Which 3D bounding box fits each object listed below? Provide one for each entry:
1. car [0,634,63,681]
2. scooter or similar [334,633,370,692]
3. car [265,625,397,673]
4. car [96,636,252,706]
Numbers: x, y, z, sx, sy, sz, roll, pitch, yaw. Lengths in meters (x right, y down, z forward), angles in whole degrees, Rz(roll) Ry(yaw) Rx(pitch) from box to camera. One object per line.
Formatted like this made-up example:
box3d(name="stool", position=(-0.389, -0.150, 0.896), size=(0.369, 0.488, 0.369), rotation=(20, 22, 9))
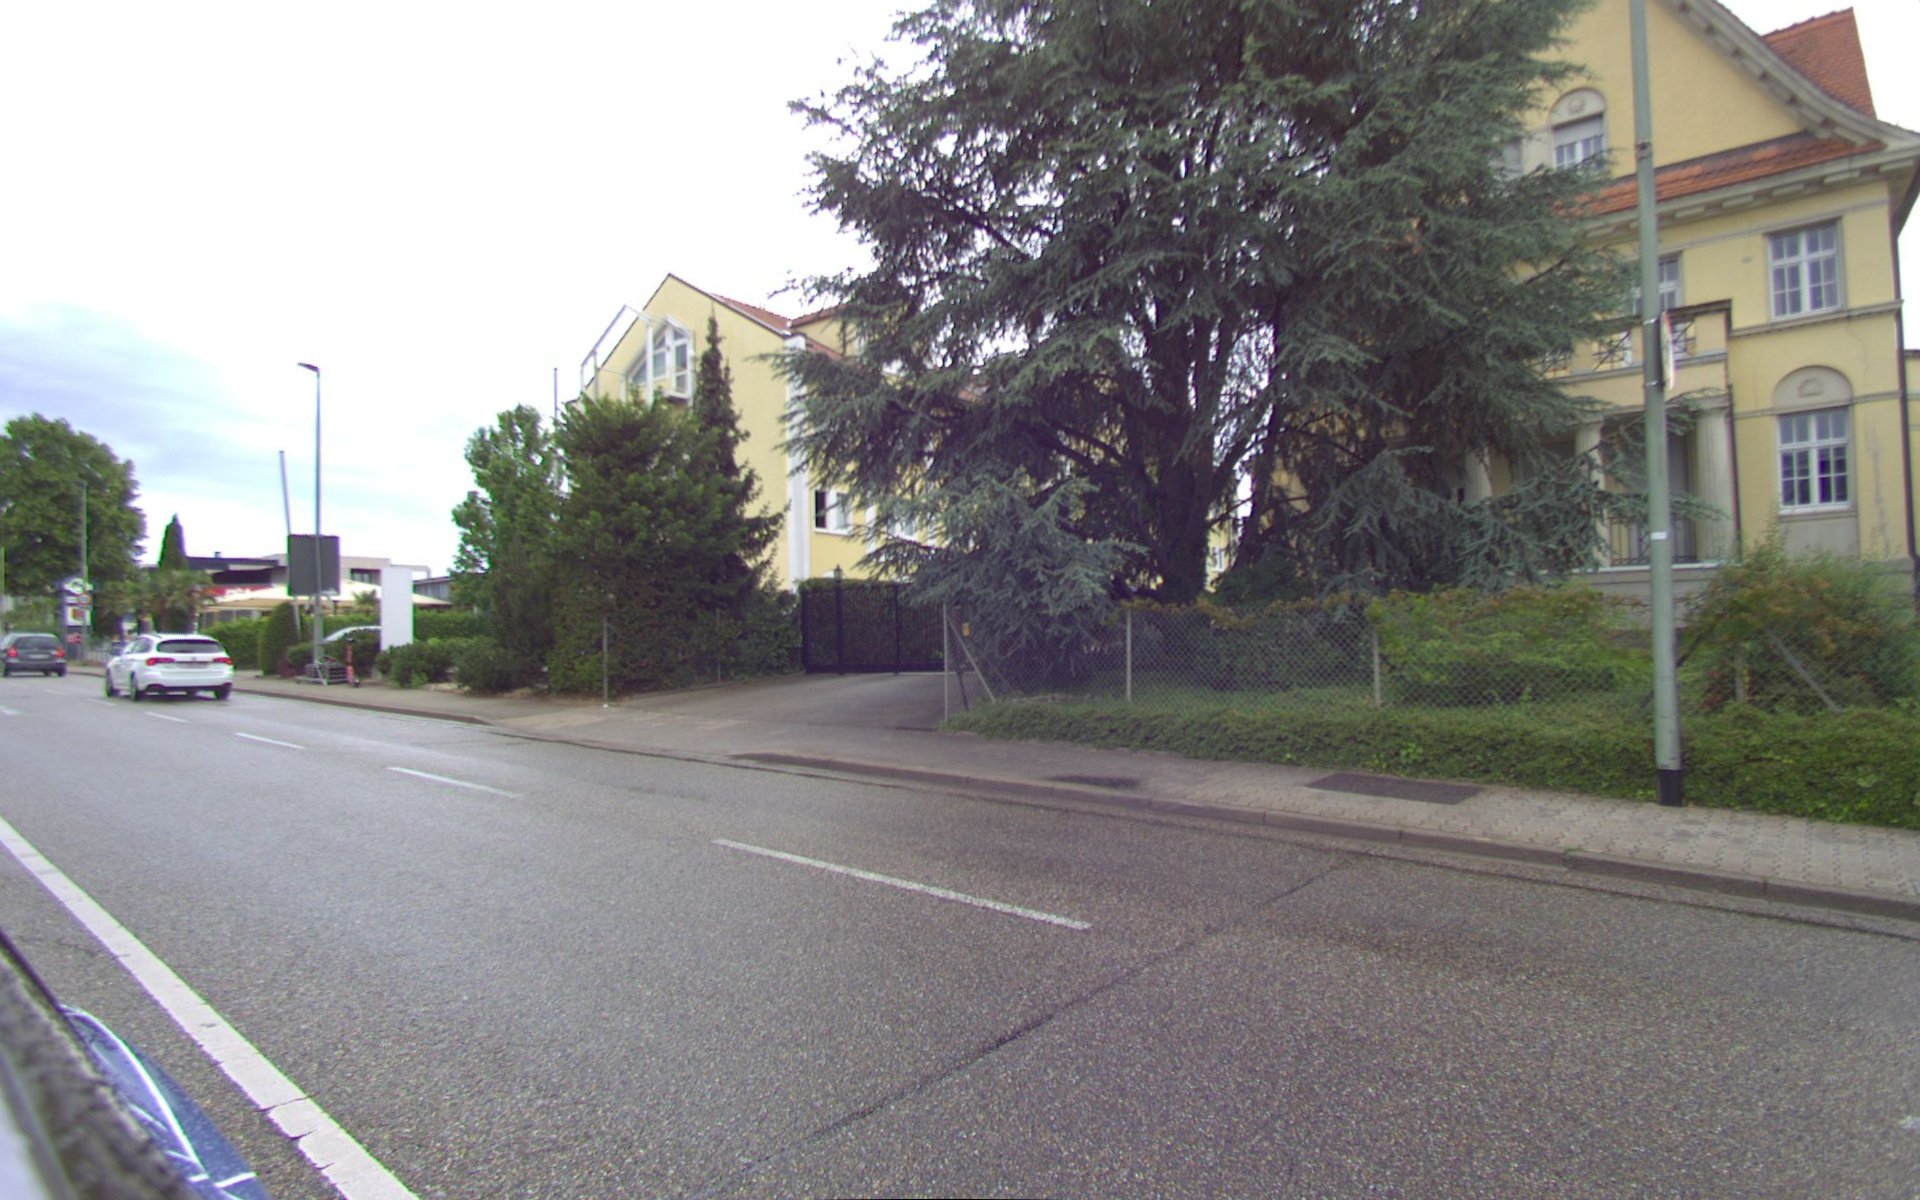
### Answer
box3d(name="car", position=(-34.403, 2.083, 37.190), size=(3.548, 1.611, 1.681), rotation=(-2, -2, 41))
box3d(name="scooter or similar", position=(-15.310, 1.540, 25.474), size=(0.498, 1.416, 1.884), rotation=(1, -2, -39))
box3d(name="car", position=(-23.231, 1.759, 37.453), size=(3.876, 1.664, 1.720), rotation=(1, -2, -44))
box3d(name="car", position=(-18.310, 1.577, 23.519), size=(4.304, 1.465, 1.948), rotation=(-1, -2, 39))
